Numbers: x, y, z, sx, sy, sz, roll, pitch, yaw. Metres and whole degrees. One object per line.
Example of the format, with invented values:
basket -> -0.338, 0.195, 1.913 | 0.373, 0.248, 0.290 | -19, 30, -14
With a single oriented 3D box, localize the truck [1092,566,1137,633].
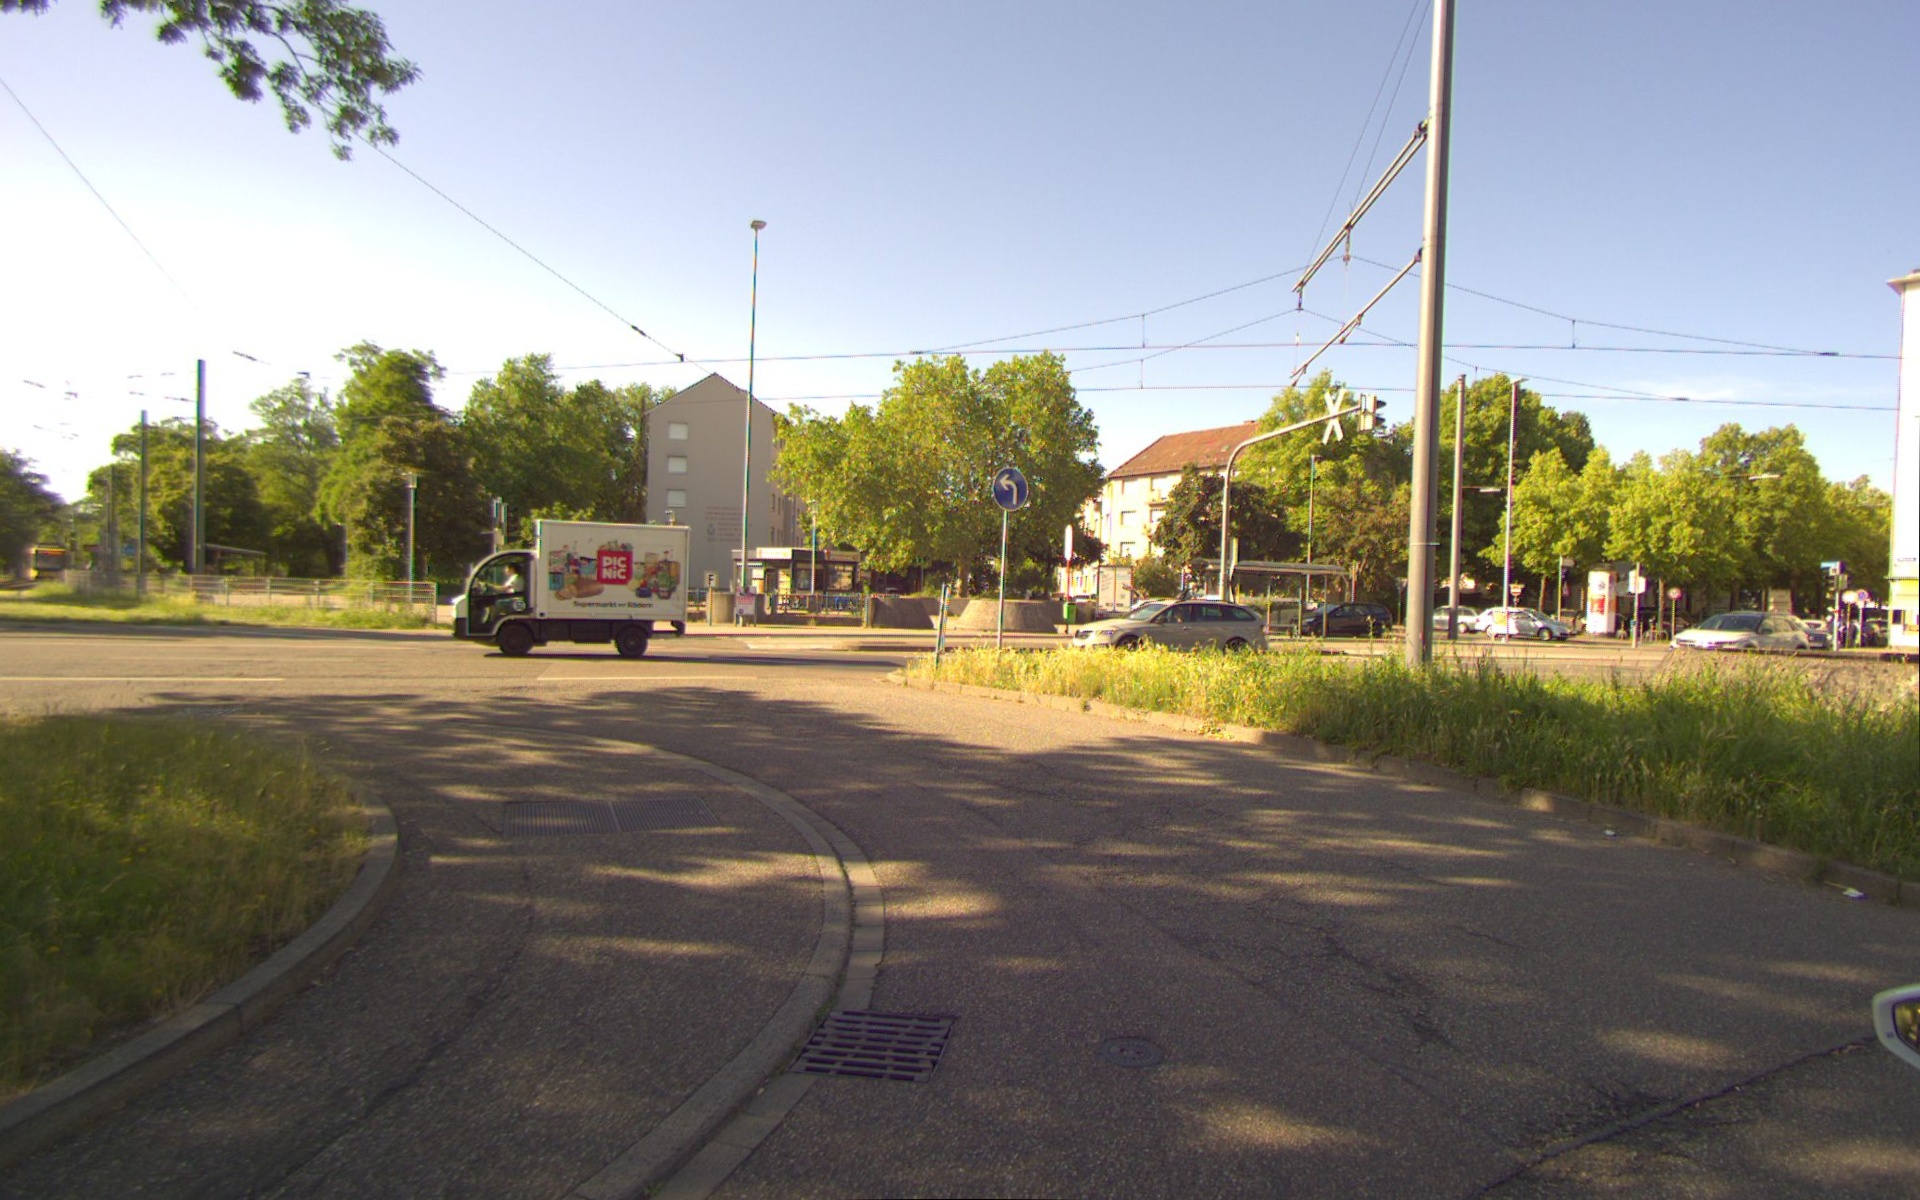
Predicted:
truck -> 7.506, -0.047, 48.903 | 1.959, 3.035, 4.831 | 2, 1, 8

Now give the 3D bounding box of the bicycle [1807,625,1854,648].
bicycle -> 40.961, 1.714, 47.275 | 0.769, 0.964, 1.857 | 3, 1, 9

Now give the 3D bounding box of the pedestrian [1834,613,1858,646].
pedestrian -> 45.787, 1.506, 51.904 | 0.780, 1.643, 0.827 | 2, 1, 34

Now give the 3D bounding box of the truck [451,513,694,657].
truck -> -7.217, -0.235, 19.009 | 4.047, 2.459, 1.785 | 2, 1, -20

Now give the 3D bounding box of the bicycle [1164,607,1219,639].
bicycle -> 7.695, 0.765, 33.421 | 1.627, 1.015, 0.613 | 1, 2, -6

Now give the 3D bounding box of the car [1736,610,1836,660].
car -> 30.198, 1.225, 36.873 | 1.726, 1.635, 4.718 | 2, 1, 26

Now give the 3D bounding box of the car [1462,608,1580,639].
car -> 27.557, 1.171, 49.512 | 1.718, 1.461, 4.833 | 3, -3, -36

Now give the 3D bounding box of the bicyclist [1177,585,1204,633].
bicyclist -> 7.662, 0.294, 33.401 | 0.663, 1.551, 0.613 | 1, 2, -5

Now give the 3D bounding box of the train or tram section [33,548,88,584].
train or tram section -> -83.542, -3.147, 93.550 | 2.448, 2.979, 19.624 | 1, 1, -38

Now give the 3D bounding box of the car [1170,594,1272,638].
car -> 11.423, 0.679, 44.095 | 3.925, 1.741, 1.761 | 1, 4, -7

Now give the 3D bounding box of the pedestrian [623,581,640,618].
pedestrian -> -16.834, -0.039, 51.429 | 0.715, 1.854, 0.558 | 2, 1, -13

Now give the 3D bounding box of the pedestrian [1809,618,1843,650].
pedestrian -> 41.000, 1.608, 47.556 | 0.760, 1.446, 0.939 | 3, 1, 8

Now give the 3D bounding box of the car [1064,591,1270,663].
car -> 4.710, 0.616, 22.957 | 4.330, 1.468, 1.663 | 2, 1, -16

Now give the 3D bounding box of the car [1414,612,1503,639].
car -> 27.316, 1.367, 55.115 | 3.943, 1.259, 1.989 | 3, 1, 43

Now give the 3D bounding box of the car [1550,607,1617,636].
car -> 38.670, 1.292, 62.402 | 1.584, 1.717, 3.518 | 0, 0, -11

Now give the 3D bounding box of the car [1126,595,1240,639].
car -> 9.178, 0.674, 41.713 | 4.457, 1.565, 1.873 | 2, 3, 9

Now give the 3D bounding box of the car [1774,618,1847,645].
car -> 45.285, 1.685, 53.496 | 3.959, 1.327, 1.981 | 1, 1, -34

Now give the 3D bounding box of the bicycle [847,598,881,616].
bicycle -> -4.948, 0.367, 51.756 | 1.651, 0.850, 0.548 | 2, 1, 13

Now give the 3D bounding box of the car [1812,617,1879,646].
car -> 51.481, 1.821, 58.402 | 3.896, 1.533, 1.925 | 1, 1, -33

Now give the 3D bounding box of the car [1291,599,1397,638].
car -> 16.653, 0.782, 43.657 | 3.938, 1.509, 1.759 | 1, 4, -12

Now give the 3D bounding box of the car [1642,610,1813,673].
car -> 21.389, 1.139, 27.986 | 4.328, 1.583, 1.987 | 2, 1, -25
